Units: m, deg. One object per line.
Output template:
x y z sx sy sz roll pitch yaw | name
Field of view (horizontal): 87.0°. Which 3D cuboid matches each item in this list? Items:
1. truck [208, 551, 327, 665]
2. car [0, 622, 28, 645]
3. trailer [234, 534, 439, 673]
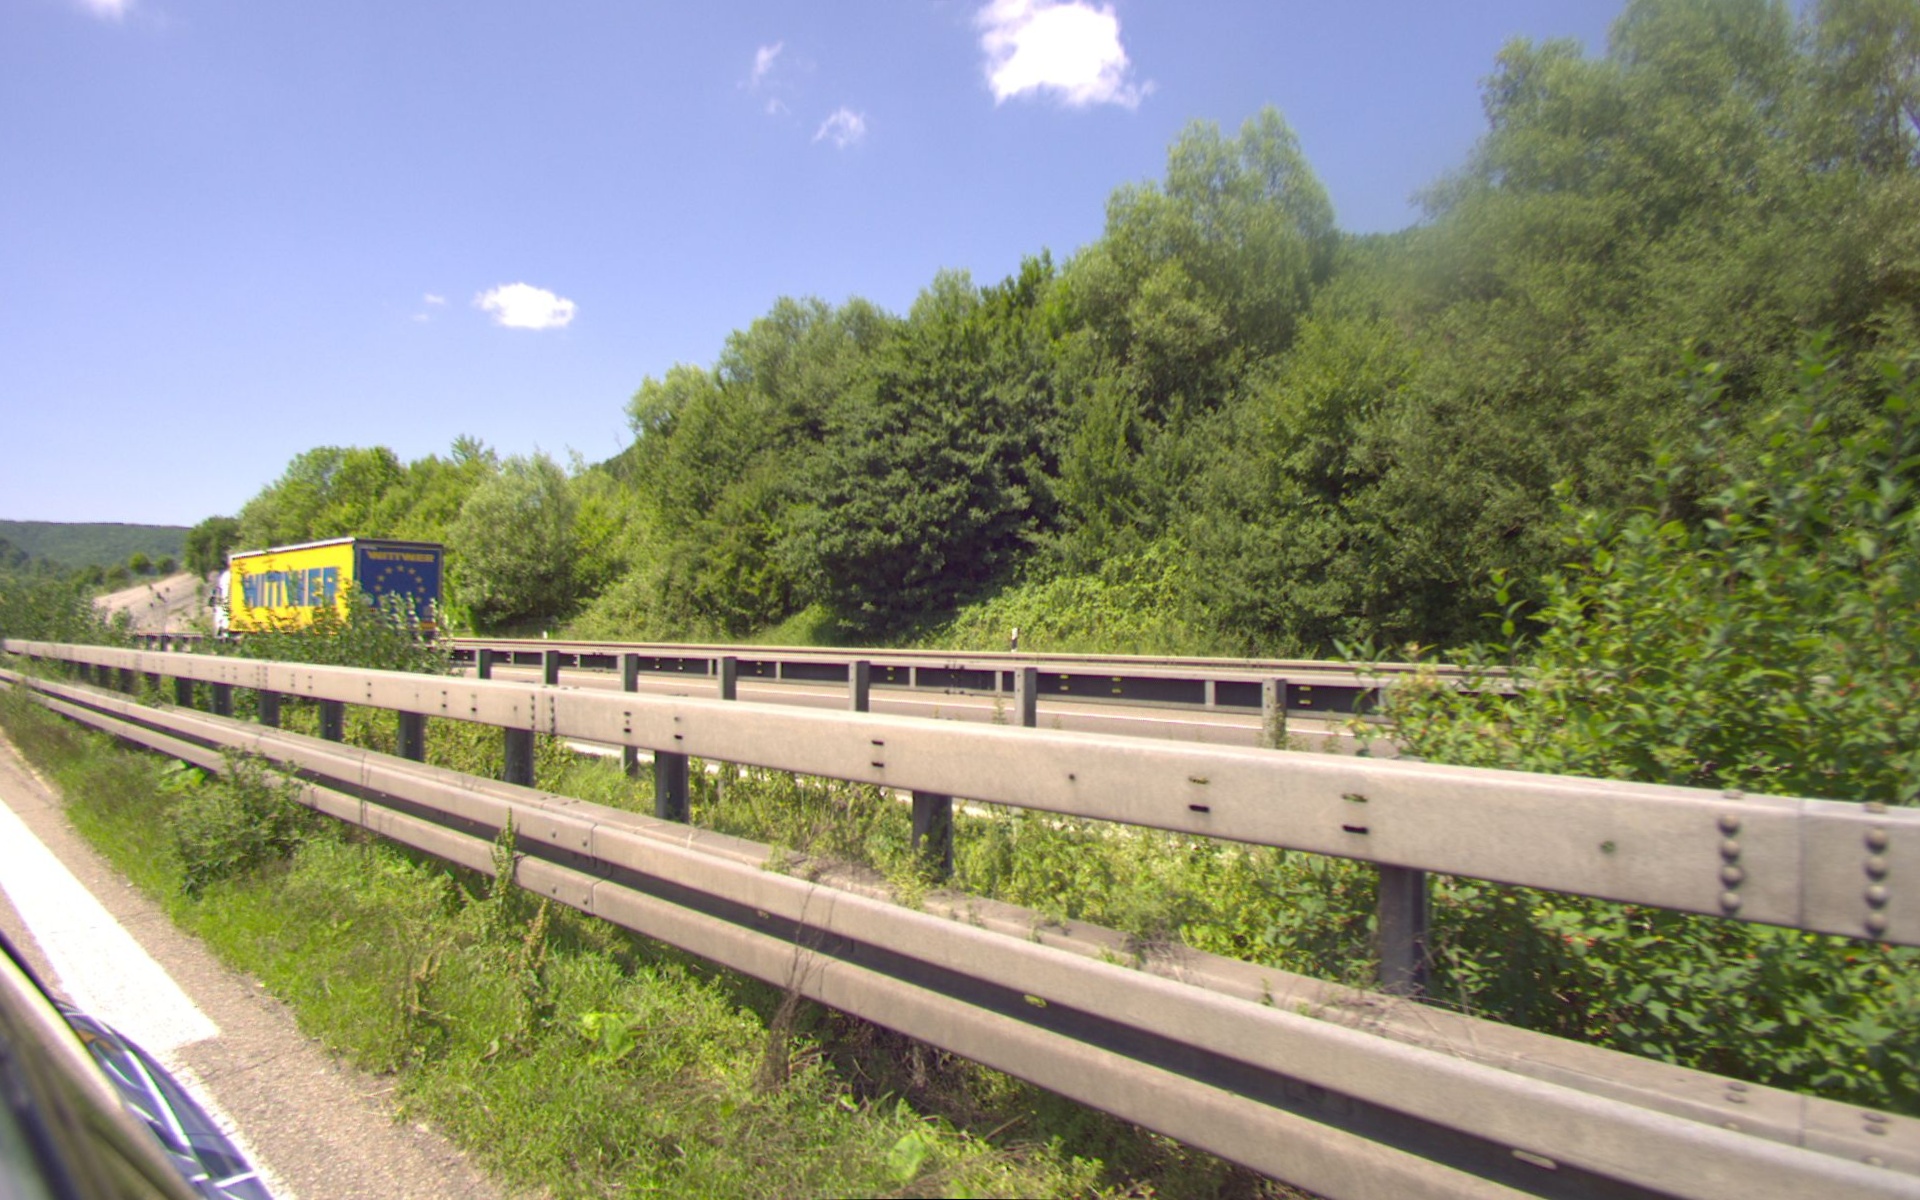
-27.181 0.345 39.630 5.848 4.121 2.520 -1 -2 42 | truck
-60.885 2.120 64.436 4.432 1.431 1.849 -1 -2 42 | car
-21.700 0.195 34.669 12.598 4.035 2.553 -1 -1 42 | trailer
